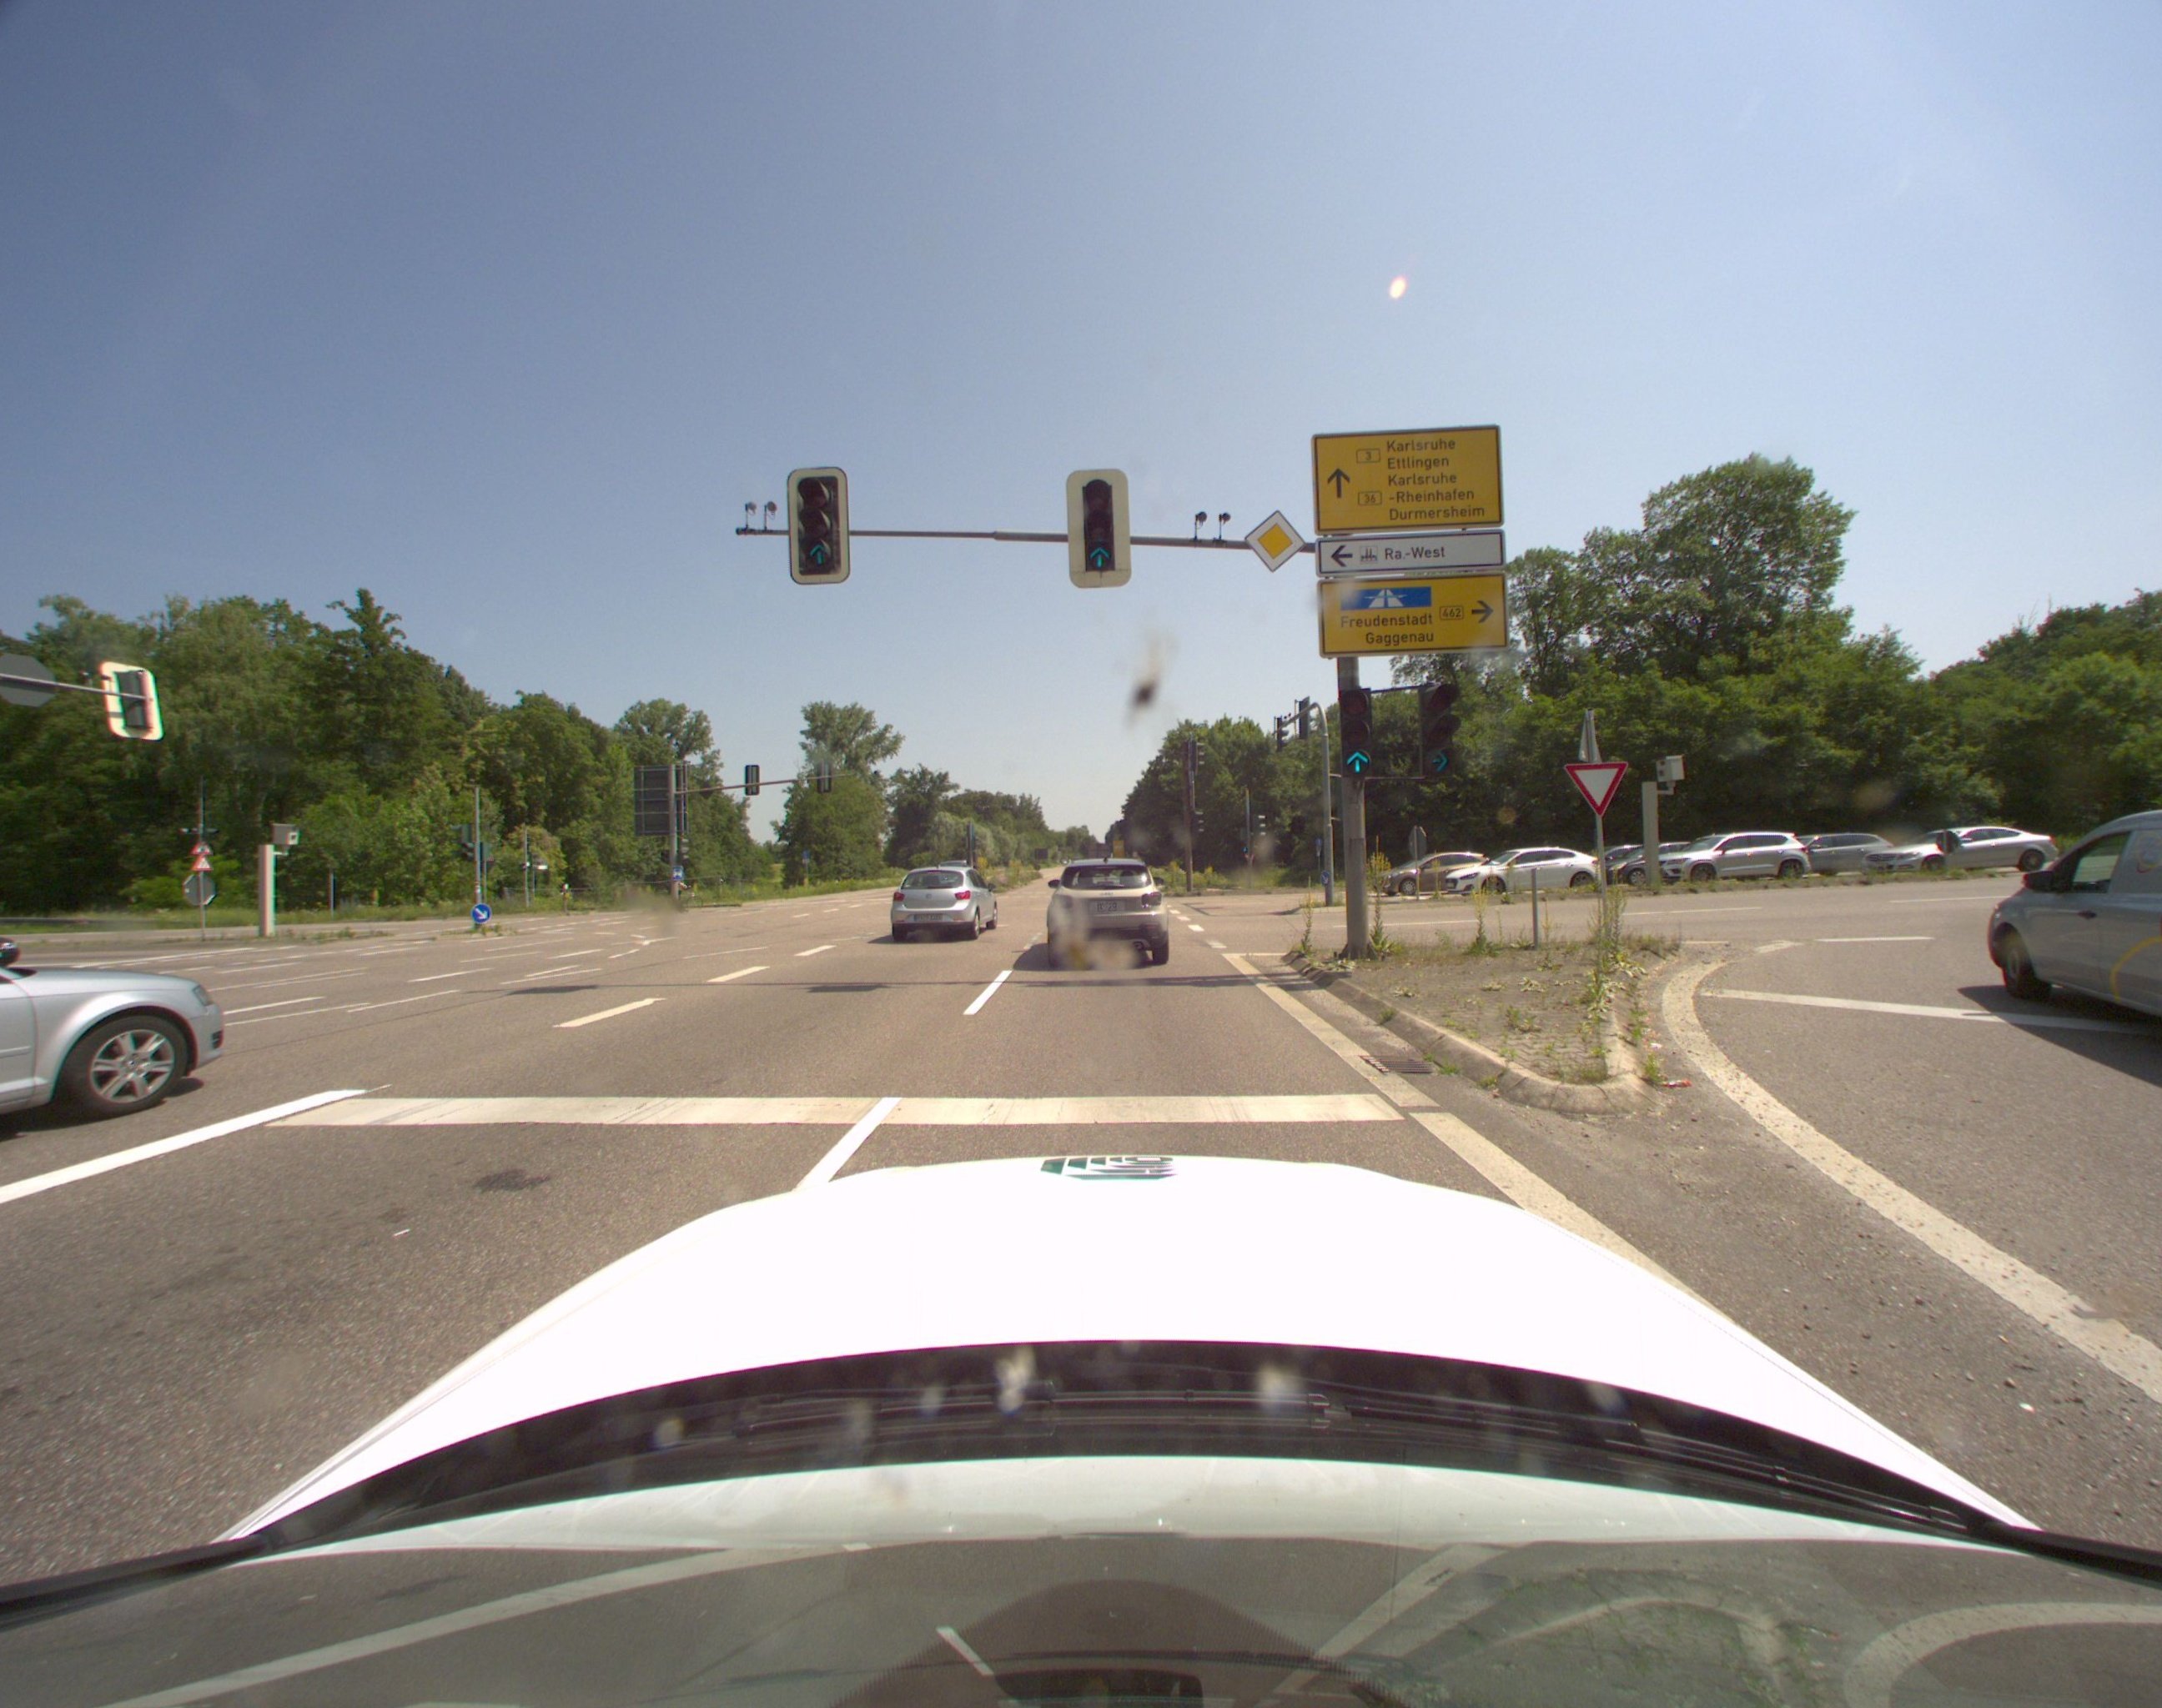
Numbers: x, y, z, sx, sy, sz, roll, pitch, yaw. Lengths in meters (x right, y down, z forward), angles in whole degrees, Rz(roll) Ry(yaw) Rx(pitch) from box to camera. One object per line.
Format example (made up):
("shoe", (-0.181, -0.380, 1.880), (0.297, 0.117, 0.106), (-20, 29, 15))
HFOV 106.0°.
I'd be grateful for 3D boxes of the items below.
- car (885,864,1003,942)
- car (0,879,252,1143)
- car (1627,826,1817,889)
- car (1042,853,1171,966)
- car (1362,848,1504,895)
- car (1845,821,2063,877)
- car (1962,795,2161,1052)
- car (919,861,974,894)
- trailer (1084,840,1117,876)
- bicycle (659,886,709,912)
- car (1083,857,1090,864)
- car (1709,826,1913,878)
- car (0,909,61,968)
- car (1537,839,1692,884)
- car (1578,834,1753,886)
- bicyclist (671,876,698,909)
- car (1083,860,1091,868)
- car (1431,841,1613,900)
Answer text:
("car", (-2.748, 0.948, 17.124), (1.659, 1.430, 3.830), (0, -1, 2))
("car", (-6.721, 0.867, 3.709), (1.759, 1.391, 4.014), (0, 0, 0))
("car", (19.457, 0.107, 24.879), (4.157, 1.659, 2.001), (-2, -1, 1))
("car", (0.437, 0.787, 13.282), (1.760, 1.535, 4.002), (-1, -1, 2))
("car", (12.282, 0.598, 28.597), (4.079, 1.447, 1.995), (-2, -1, -1))
("car", (26.238, -0.131, 24.609), (4.314, 1.414, 1.975), (-3, -1, 2))
("car", (8.758, 0.460, 6.131), (1.739, 1.773, 4.138), (-1, 0, 30))
("car", (-7.808, 1.328, 47.798), (1.986, 1.678, 5.368), (-3, -1, 2))
("trailer", (2.421, 0.590, 96.213), (3.367, 3.989, 10.816), (-1, -1, 4))
("bicycle", (-17.875, 2.008, 36.688), (0.715, 1.063, 1.881), (-3, -1, 39))
("car", (1.775, 2.025, 260.246), (1.767, 2.013, 4.002), (-3, -1, 2))
("car", (25.442, -0.039, 28.539), (5.110, 1.534, 2.139), (-3, -2, 1))
("car", (-27.189, 2.068, 18.754), (4.787, 1.290, 2.106), (-2, -1, 2))
("car", (20.614, 0.291, 31.631), (4.599, 1.498, 2.112), (-2, -1, 1))
("car", (19.933, 0.223, 27.936), (4.403, 1.535, 2.122), (-2, -2, 1))
("bicyclist", (-17.879, 1.730, 36.718), (0.914, 1.459, 0.721), (-3, -1, 39))
("car", (1.587, 2.535, 215.013), (1.987, 2.014, 4.553), (-2, -1, 0))
("car", (13.281, 0.480, 24.724), (4.405, 1.535, 2.000), (-2, -1, 0))
